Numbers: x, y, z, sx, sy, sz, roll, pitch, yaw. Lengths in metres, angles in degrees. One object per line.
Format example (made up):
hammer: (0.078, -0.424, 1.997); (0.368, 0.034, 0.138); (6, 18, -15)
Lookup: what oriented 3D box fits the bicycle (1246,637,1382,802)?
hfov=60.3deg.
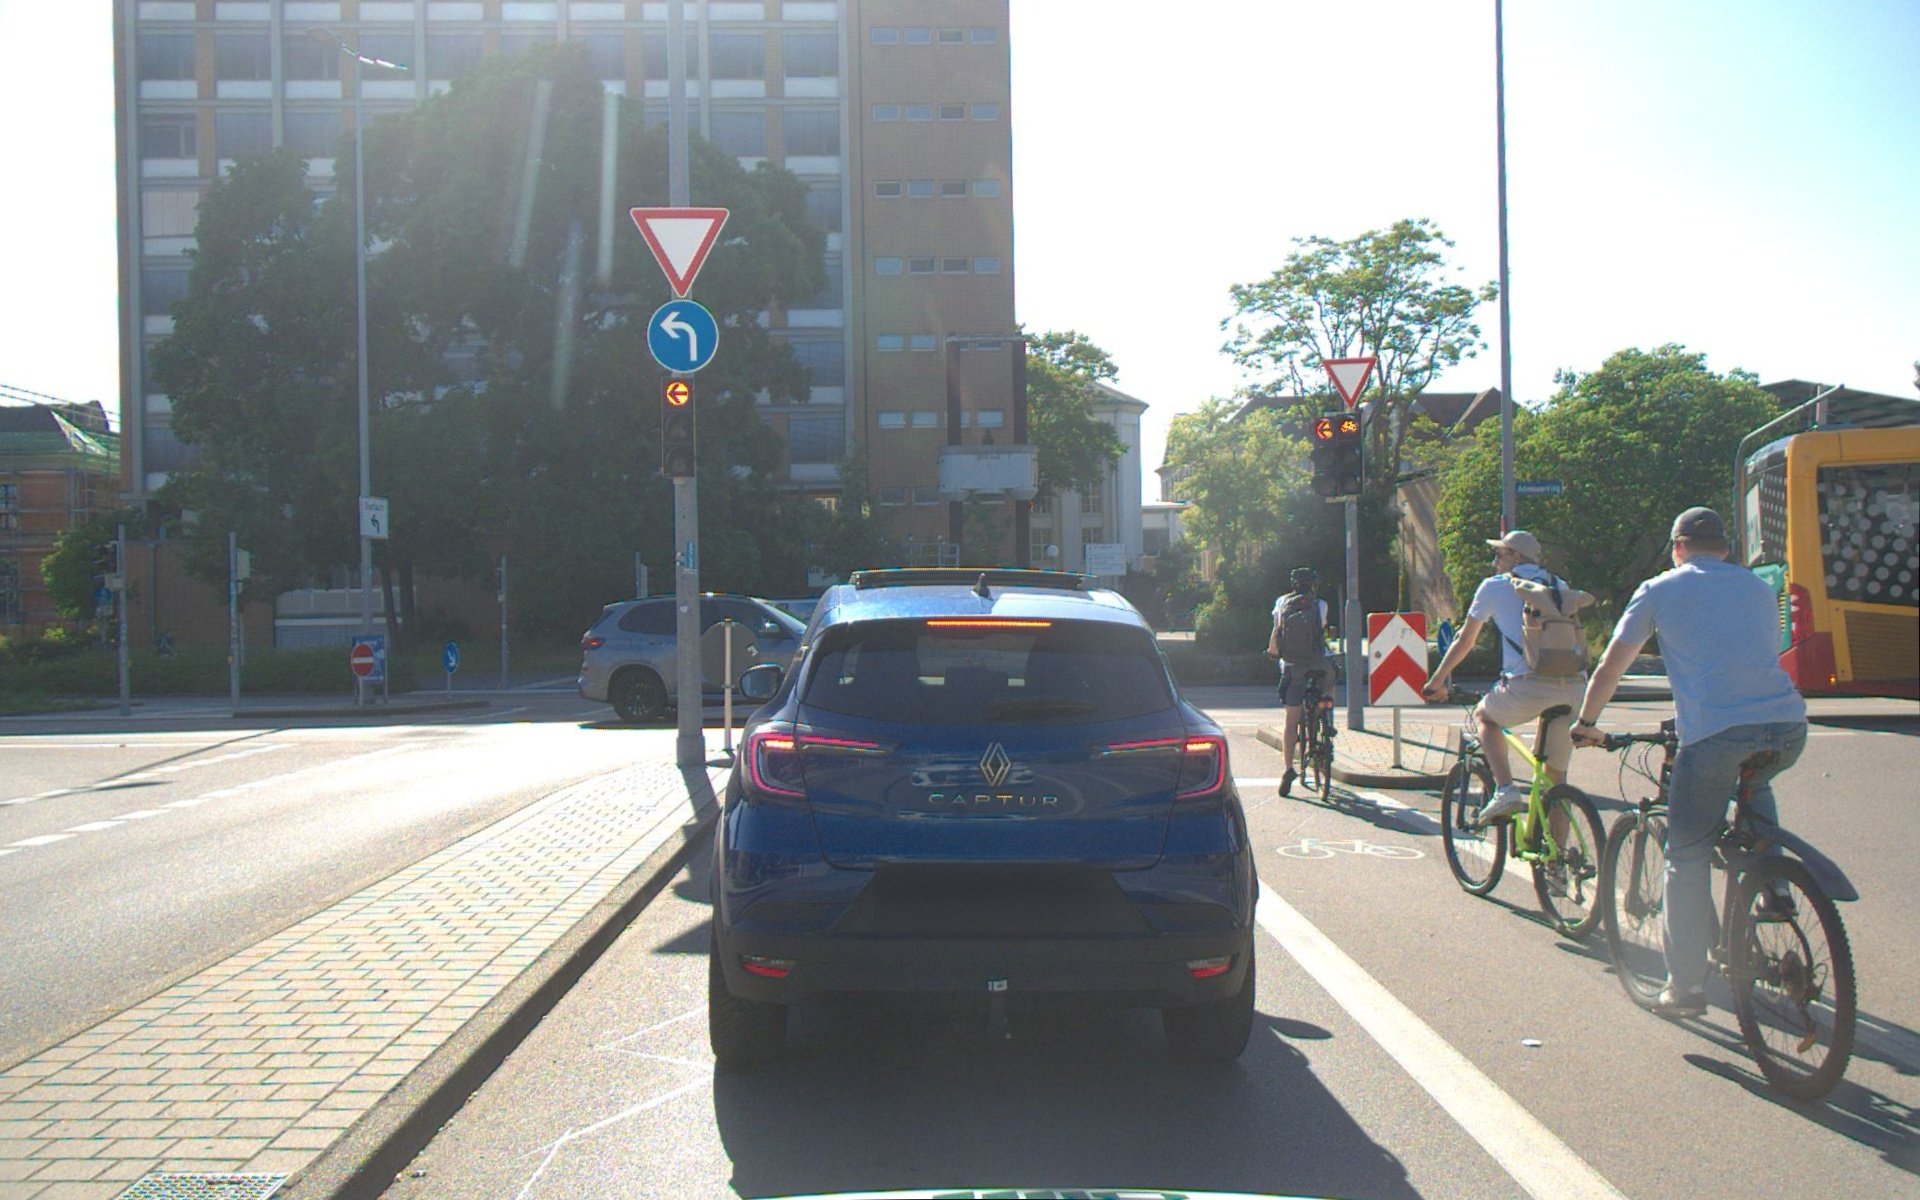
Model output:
bicycle: (2.740, 0.893, 12.975); (0.602, 1.158, 1.825); (0, 0, -2)

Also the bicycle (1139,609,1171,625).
bicycle: (11.200, 0.980, 95.001); (1.735, 0.914, 0.765); (-1, 0, -1)

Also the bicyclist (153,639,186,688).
bicyclist: (-24.001, 1.929, 50.244); (0.624, 1.437, 0.649); (-1, 0, 24)

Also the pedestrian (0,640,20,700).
pedestrian: (-33.068, 2.406, 56.831); (0.807, 2.049, 1.014); (-1, 0, 23)

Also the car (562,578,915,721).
car: (-3.114, 0.692, 23.784); (4.626, 1.893, 2.006); (-1, 0, 8)

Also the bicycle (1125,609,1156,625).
bicycle: (10.854, 1.010, 99.360); (1.735, 0.908, 0.765); (-1, 0, -1)

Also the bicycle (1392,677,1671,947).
bicycle: (2.706, 0.959, 8.055); (0.657, 1.069, 1.843); (1, 0, -2)

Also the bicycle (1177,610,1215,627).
bicycle: (11.857, 0.928, 83.210); (1.739, 0.837, 0.763); (-1, 0, -11)

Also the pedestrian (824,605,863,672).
pedestrian: (-3.329, 1.105, 47.354); (0.912, 1.888, 0.808); (-1, 0, 8)

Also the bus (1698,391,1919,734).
bus: (14.974, -0.485, 18.072); (12.157, 3.633, 3.253); (-1, 0, 13)

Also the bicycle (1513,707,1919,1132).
bicycle: (2.621, 0.970, 5.670); (0.732, 1.069, 1.902); (-1, 0, -2)

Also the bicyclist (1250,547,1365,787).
bicyclist: (2.721, 0.516, 13.036); (0.663, 1.816, 0.939); (1, -1, -2)

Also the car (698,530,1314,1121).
car: (0.082, 0.642, 6.676); (1.758, 1.684, 3.852); (1, 0, -2)

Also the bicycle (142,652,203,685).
bicycle: (-23.928, 2.073, 50.237); (1.827, 0.975, 0.623); (-1, 0, 24)

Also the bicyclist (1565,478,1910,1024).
bicyclist: (2.609, 0.472, 5.644); (0.725, 1.703, 0.865); (-1, 0, -3)

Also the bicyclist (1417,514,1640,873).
bicyclist: (2.715, 0.422, 8.000); (0.660, 1.610, 1.081); (1, 0, -2)

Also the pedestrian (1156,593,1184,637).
pedestrian: (9.887, 0.700, 77.956); (1.132, 2.049, 1.164); (-1, 0, -1)
